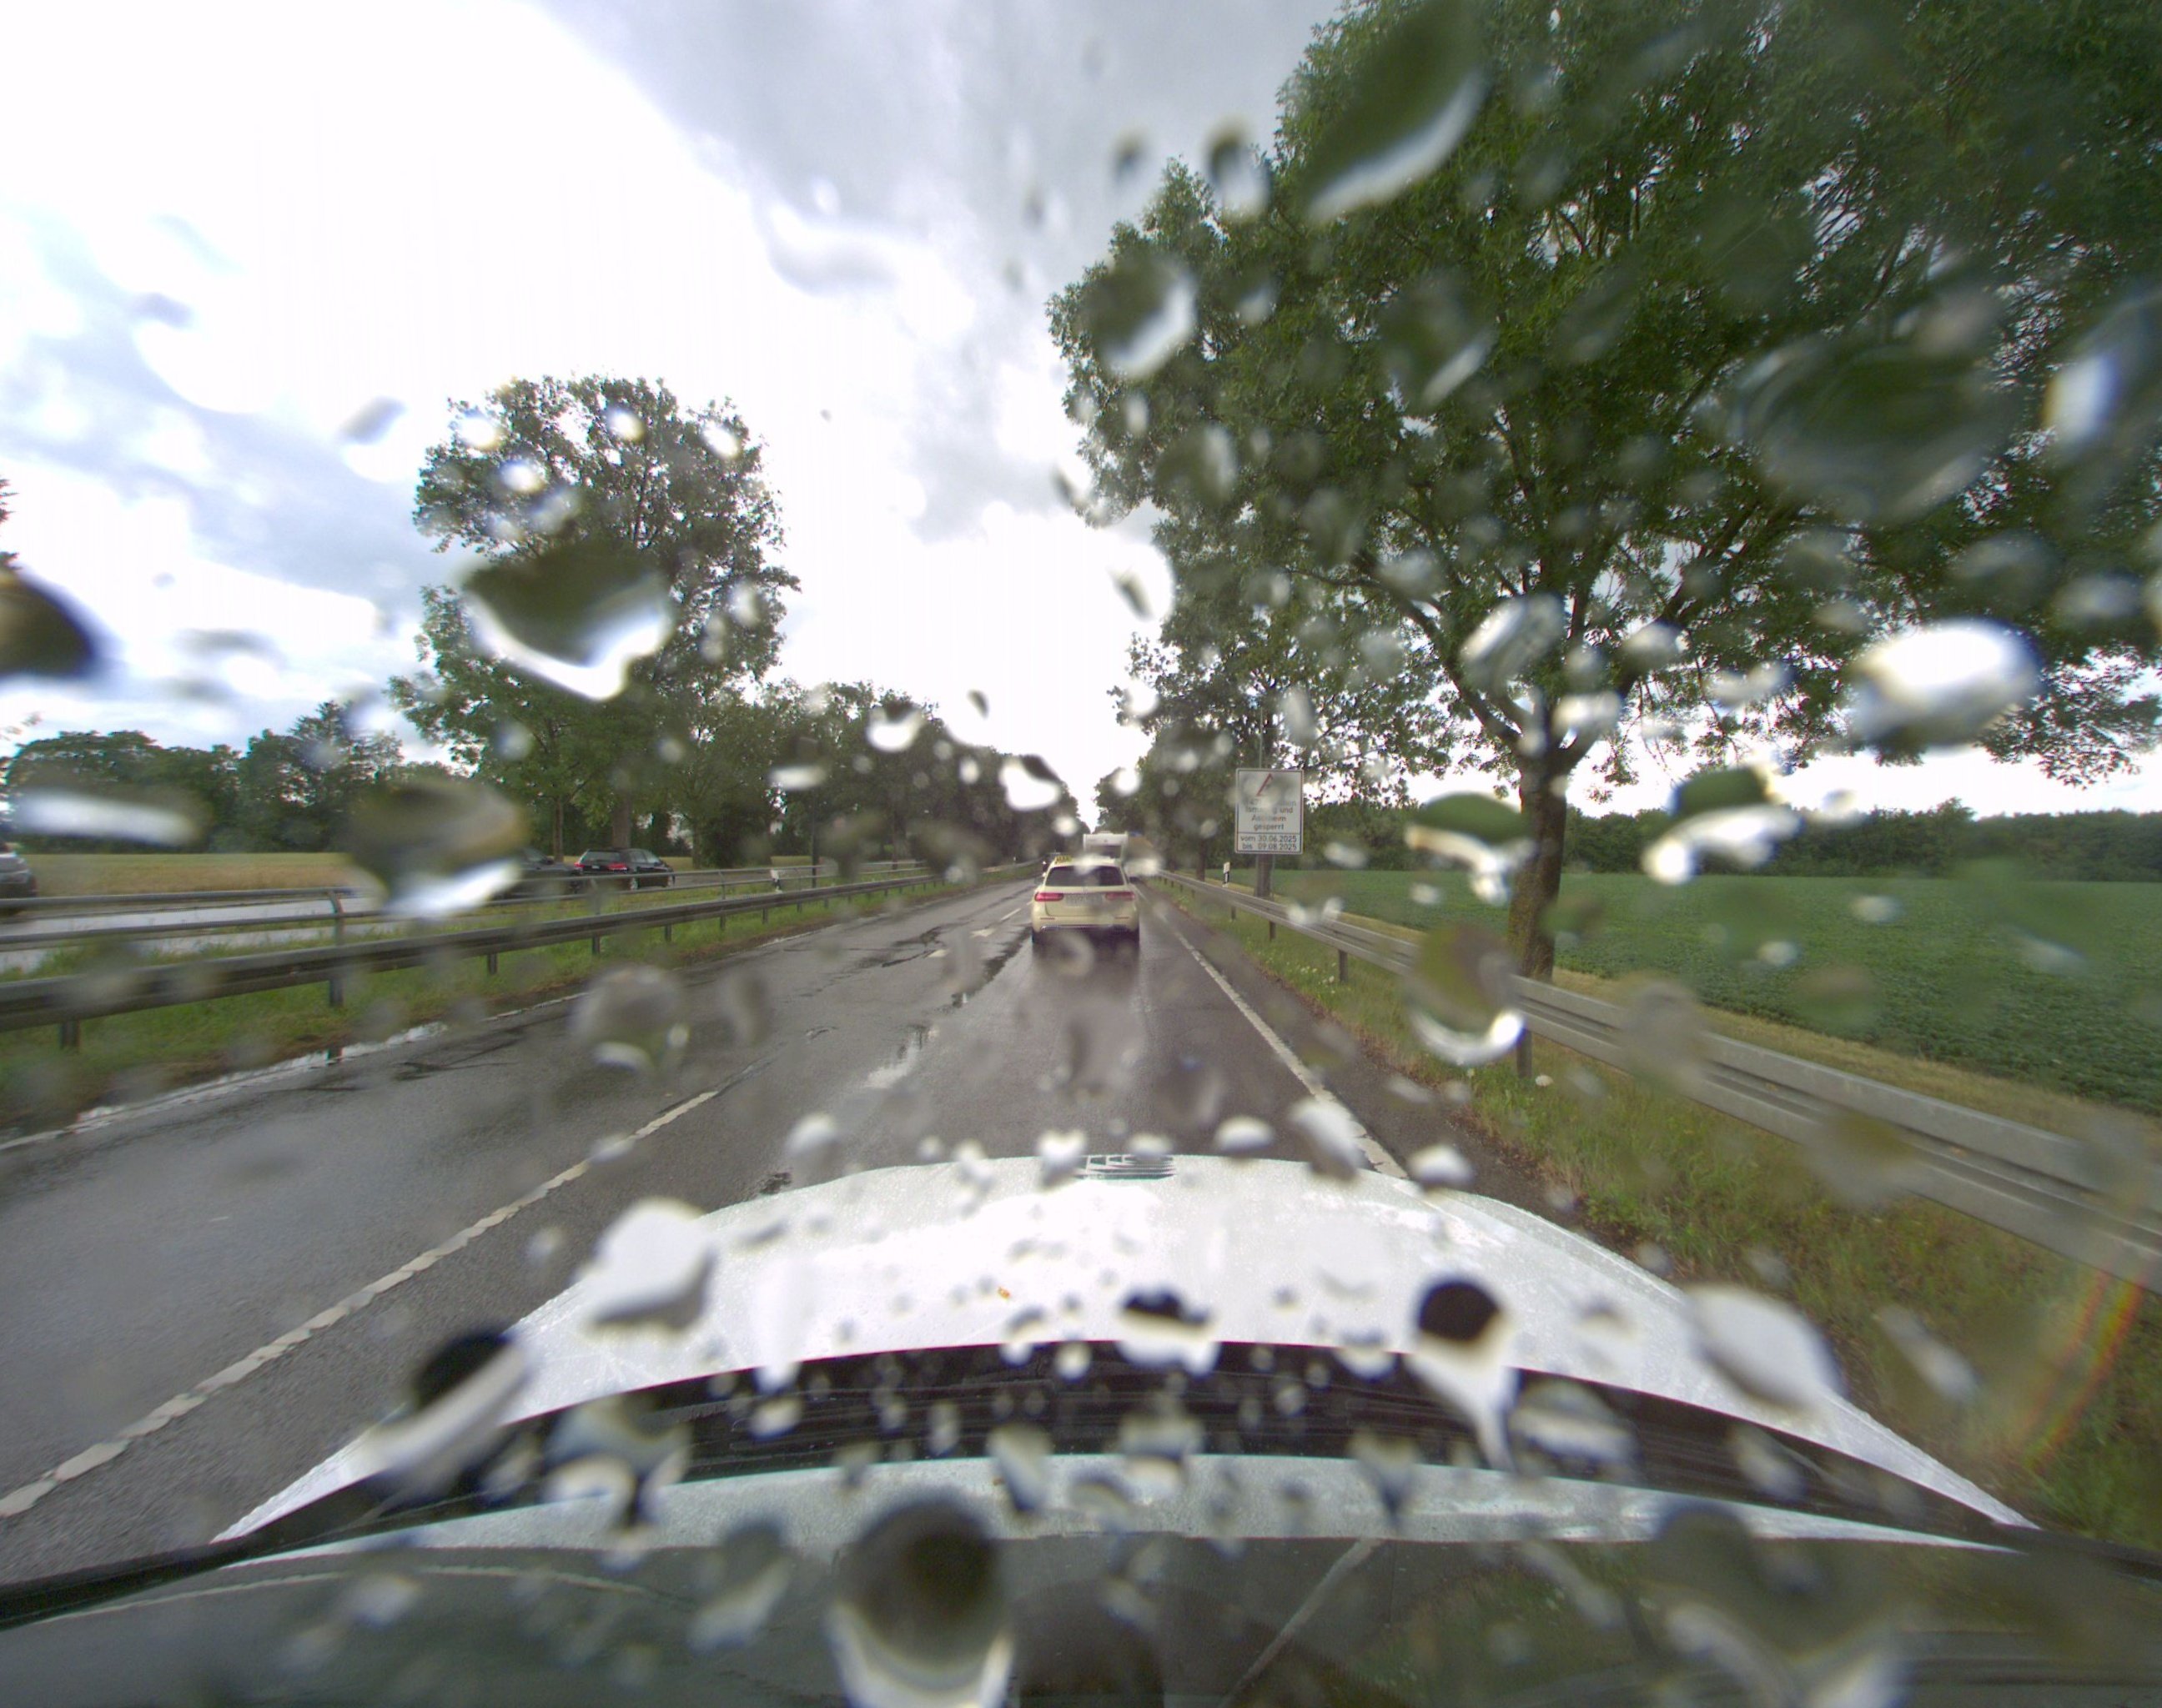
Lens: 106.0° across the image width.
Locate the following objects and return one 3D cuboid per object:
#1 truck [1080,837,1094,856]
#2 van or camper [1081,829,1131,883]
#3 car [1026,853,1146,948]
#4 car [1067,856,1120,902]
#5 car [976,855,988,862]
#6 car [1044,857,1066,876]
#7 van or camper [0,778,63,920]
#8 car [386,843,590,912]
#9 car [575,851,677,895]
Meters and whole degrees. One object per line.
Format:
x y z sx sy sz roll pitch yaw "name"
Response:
1.239 -1.423 156.013 2.567 3.452 9.556 -1 0 1 "truck"
1.388 0.091 43.102 2.479 2.685 5.704 0 0 3 "van or camper"
0.181 0.735 14.830 1.857 1.476 4.003 -1 0 3 "car"
0.503 0.797 27.939 1.657 1.430 4.003 -1 0 3 "car"
-21.133 0.957 173.567 1.778 1.416 4.003 1 0 3 "car"
-2.363 1.139 75.312 1.758 1.619 4.001 -1 0 1 "car"
-23.307 -0.146 15.160 5.858 2.677 2.080 1 0 -2 "van or camper"
-14.550 0.506 20.428 1.511 1.491 5.117 1 0 -2 "car"
-14.850 0.586 26.799 1.279 1.331 3.895 0 0 -2 "car"
